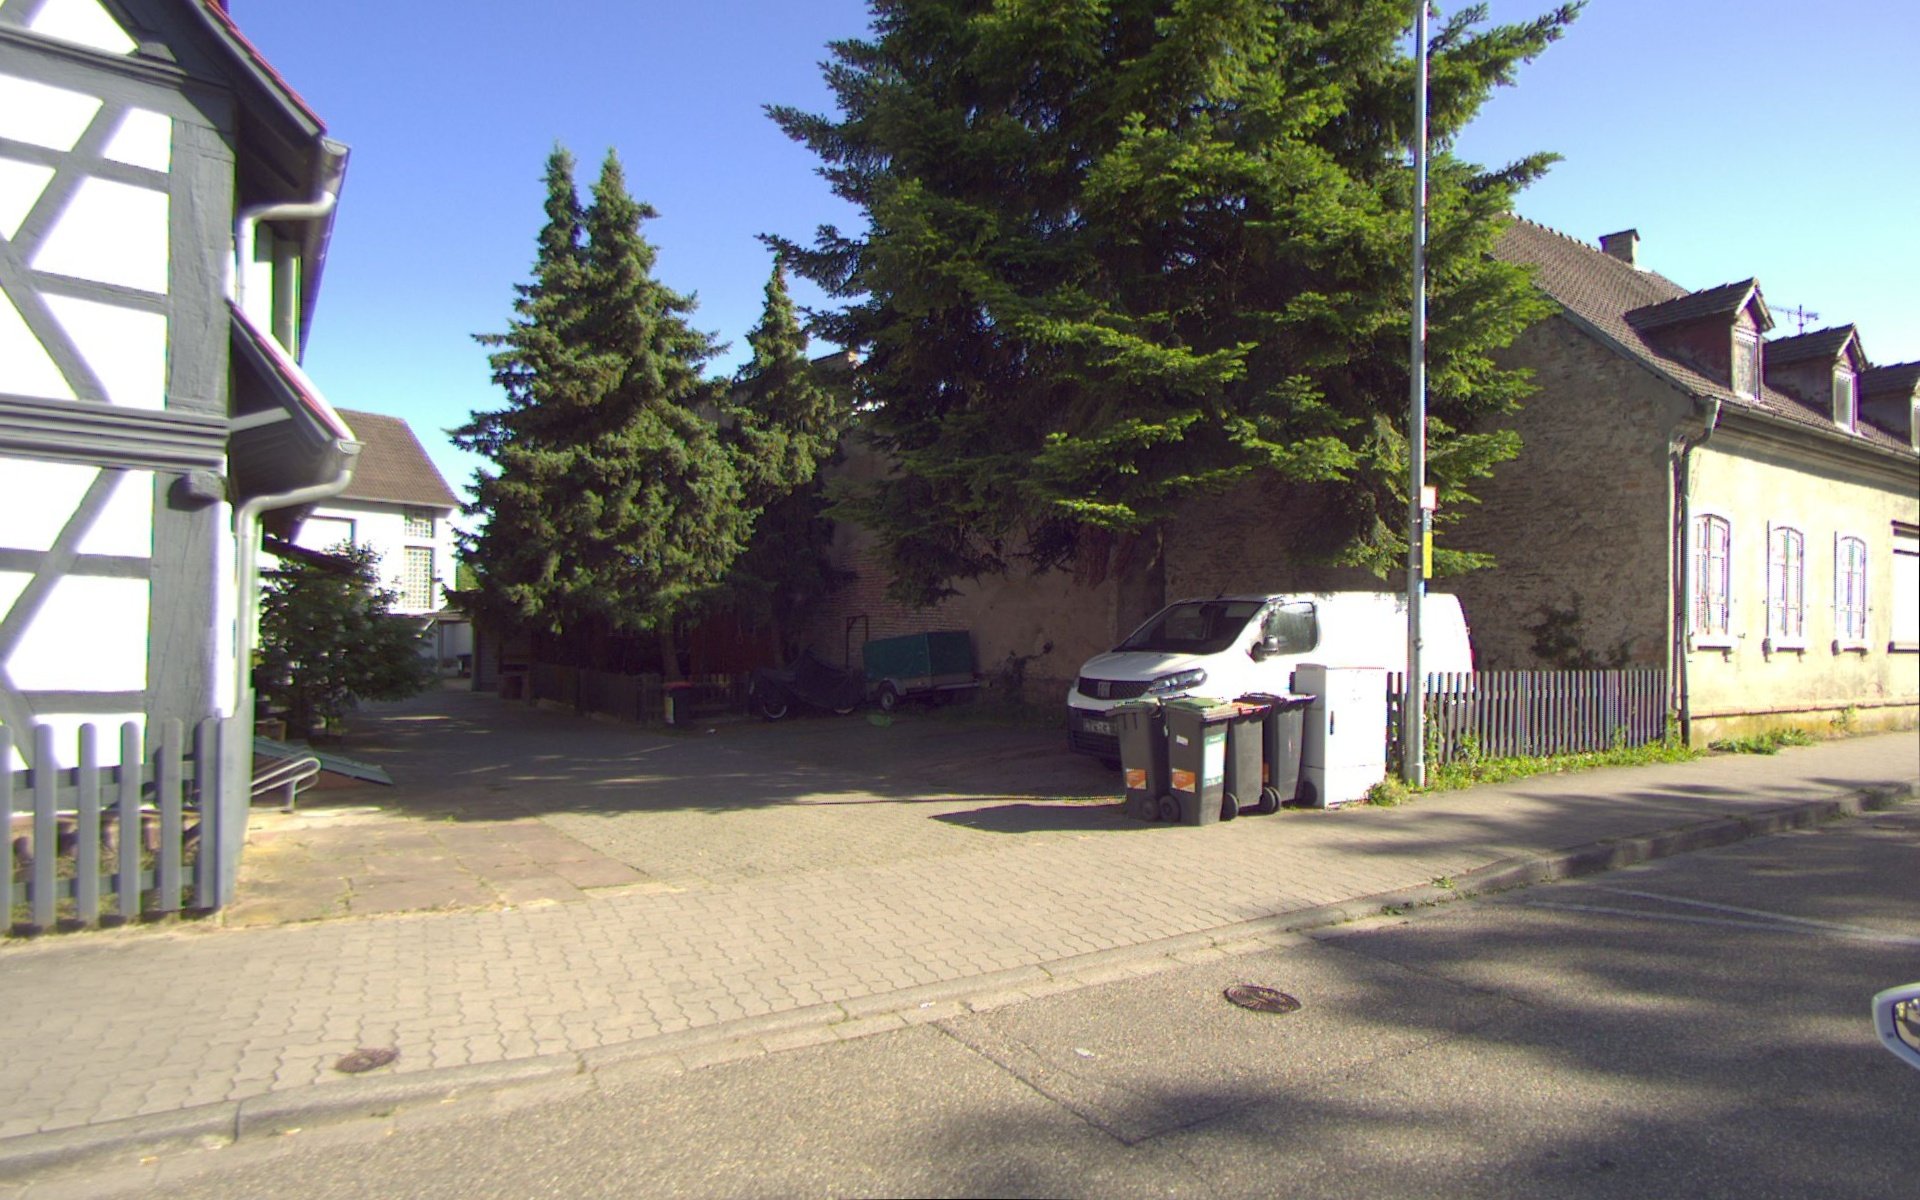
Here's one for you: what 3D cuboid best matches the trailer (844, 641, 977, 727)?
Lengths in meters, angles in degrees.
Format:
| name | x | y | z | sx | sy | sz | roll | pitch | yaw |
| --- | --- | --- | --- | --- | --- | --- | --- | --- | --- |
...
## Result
| name | x | y | z | sx | sy | sz | roll | pitch | yaw |
| --- | --- | --- | --- | --- | --- | --- | --- | --- | --- |
| trailer | -1.019 | 1.631 | 20.186 | 1.534 | 1.592 | 2.412 | 2 | -3 | -41 |

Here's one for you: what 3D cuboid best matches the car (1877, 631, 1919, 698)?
| name | x | y | z | sx | sy | sz | roll | pitch | yaw |
| --- | --- | --- | --- | --- | --- | --- | --- | --- | --- |
| car | 26.869 | 1.637 | 26.258 | 4.142 | 1.755 | 1.822 | -5 | -5 | 41 |

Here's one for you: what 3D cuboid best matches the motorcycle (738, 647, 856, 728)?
| name | x | y | z | sx | sy | sz | roll | pitch | yaw |
| --- | --- | --- | --- | --- | --- | --- | --- | --- | --- |
| motorcycle | -3.083 | 1.642 | 19.113 | 2.119 | 1.371 | 0.591 | -2 | -2 | -31 |

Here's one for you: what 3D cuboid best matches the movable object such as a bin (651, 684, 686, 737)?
| name | x | y | z | sx | sy | sz | roll | pitch | yaw |
| --- | --- | --- | --- | --- | --- | --- | --- | --- | --- |
| movable object such as a bin | -5.105 | 1.918 | 17.565 | 0.514 | 0.891 | 0.410 | 1 | -3 | -29 |

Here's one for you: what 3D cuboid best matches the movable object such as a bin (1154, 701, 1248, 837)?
| name | x | y | z | sx | sy | sz | roll | pitch | yaw |
| --- | --- | --- | --- | --- | --- | --- | --- | --- | --- |
| movable object such as a bin | 1.831 | 1.267 | 7.646 | 0.485 | 0.936 | 0.438 | -2 | -2 | -31 |

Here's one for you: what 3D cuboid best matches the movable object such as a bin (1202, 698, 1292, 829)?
| name | x | y | z | sx | sy | sz | roll | pitch | yaw |
| --- | --- | --- | --- | --- | --- | --- | --- | --- | --- |
| movable object such as a bin | 2.255 | 1.264 | 7.908 | 0.485 | 0.936 | 0.426 | -2 | -2 | -31 |

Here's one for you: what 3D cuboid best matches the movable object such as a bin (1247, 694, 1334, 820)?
| name | x | y | z | sx | sy | sz | roll | pitch | yaw |
| --- | --- | --- | --- | --- | --- | --- | --- | --- | --- |
| movable object such as a bin | 2.681 | 1.256 | 8.165 | 0.485 | 0.936 | 0.418 | -2 | -2 | -31 |

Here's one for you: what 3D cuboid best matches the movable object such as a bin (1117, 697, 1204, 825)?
| name | x | y | z | sx | sy | sz | roll | pitch | yaw |
| --- | --- | --- | --- | --- | --- | --- | --- | --- | --- |
| movable object such as a bin | 1.603 | 1.267 | 8.040 | 0.485 | 0.936 | 0.418 | -2 | -2 | -31 |

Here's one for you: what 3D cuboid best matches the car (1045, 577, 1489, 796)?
| name | x | y | z | sx | sy | sz | roll | pitch | yaw |
| --- | --- | --- | --- | --- | --- | --- | --- | --- | --- |
| car | 3.574 | 0.866 | 11.318 | 5.085 | 1.981 | 1.930 | 1 | -3 | -32 |
